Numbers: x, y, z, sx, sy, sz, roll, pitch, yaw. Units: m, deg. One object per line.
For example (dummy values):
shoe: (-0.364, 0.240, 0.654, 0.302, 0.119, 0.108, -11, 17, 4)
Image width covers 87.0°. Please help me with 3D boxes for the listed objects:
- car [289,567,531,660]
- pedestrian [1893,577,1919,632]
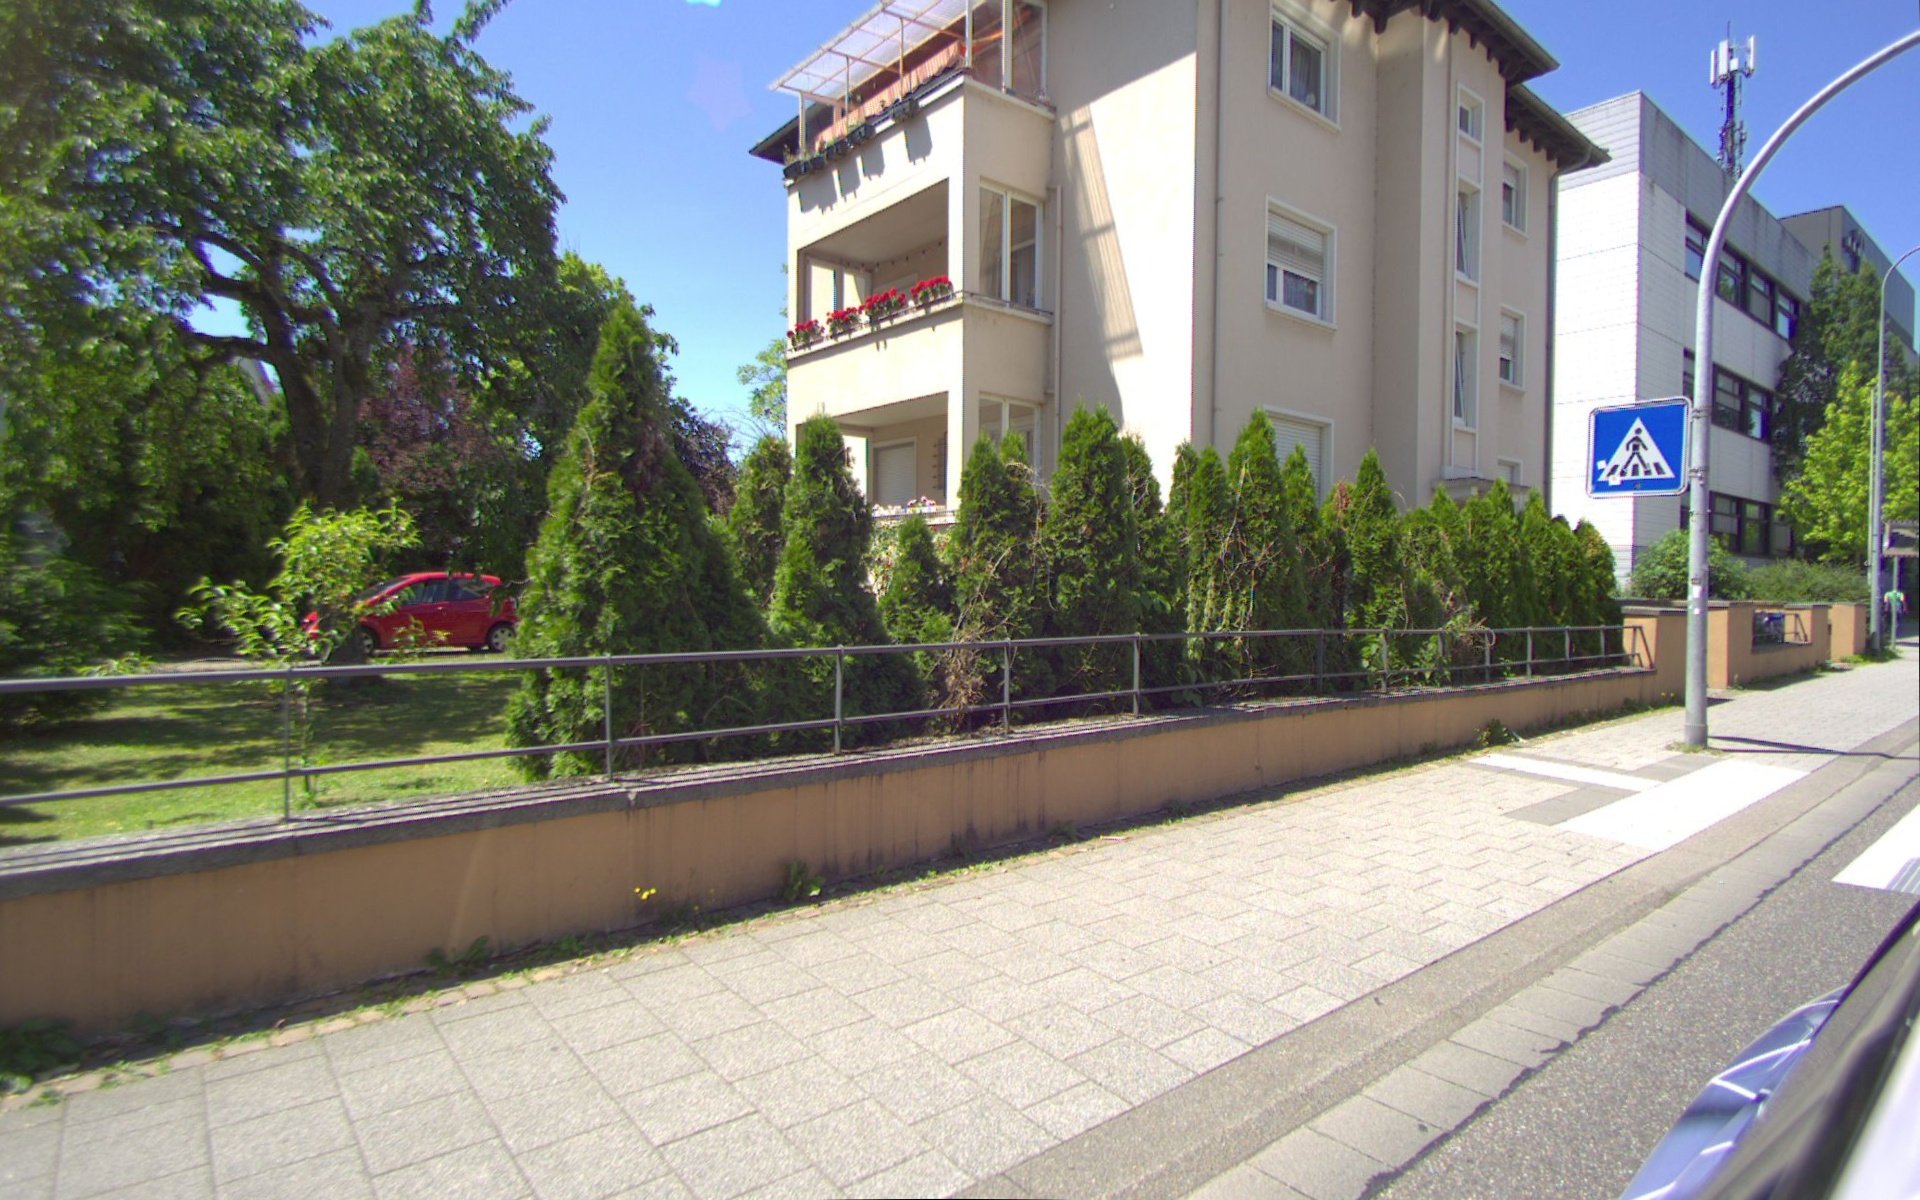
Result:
car: (-9.635, 0.182, 17.871, 1.608, 1.477, 3.447, 2, 1, 45)
pedestrian: (30.609, 0.139, 32.552, 1.031, 1.720, 0.680, -1, 3, -39)
